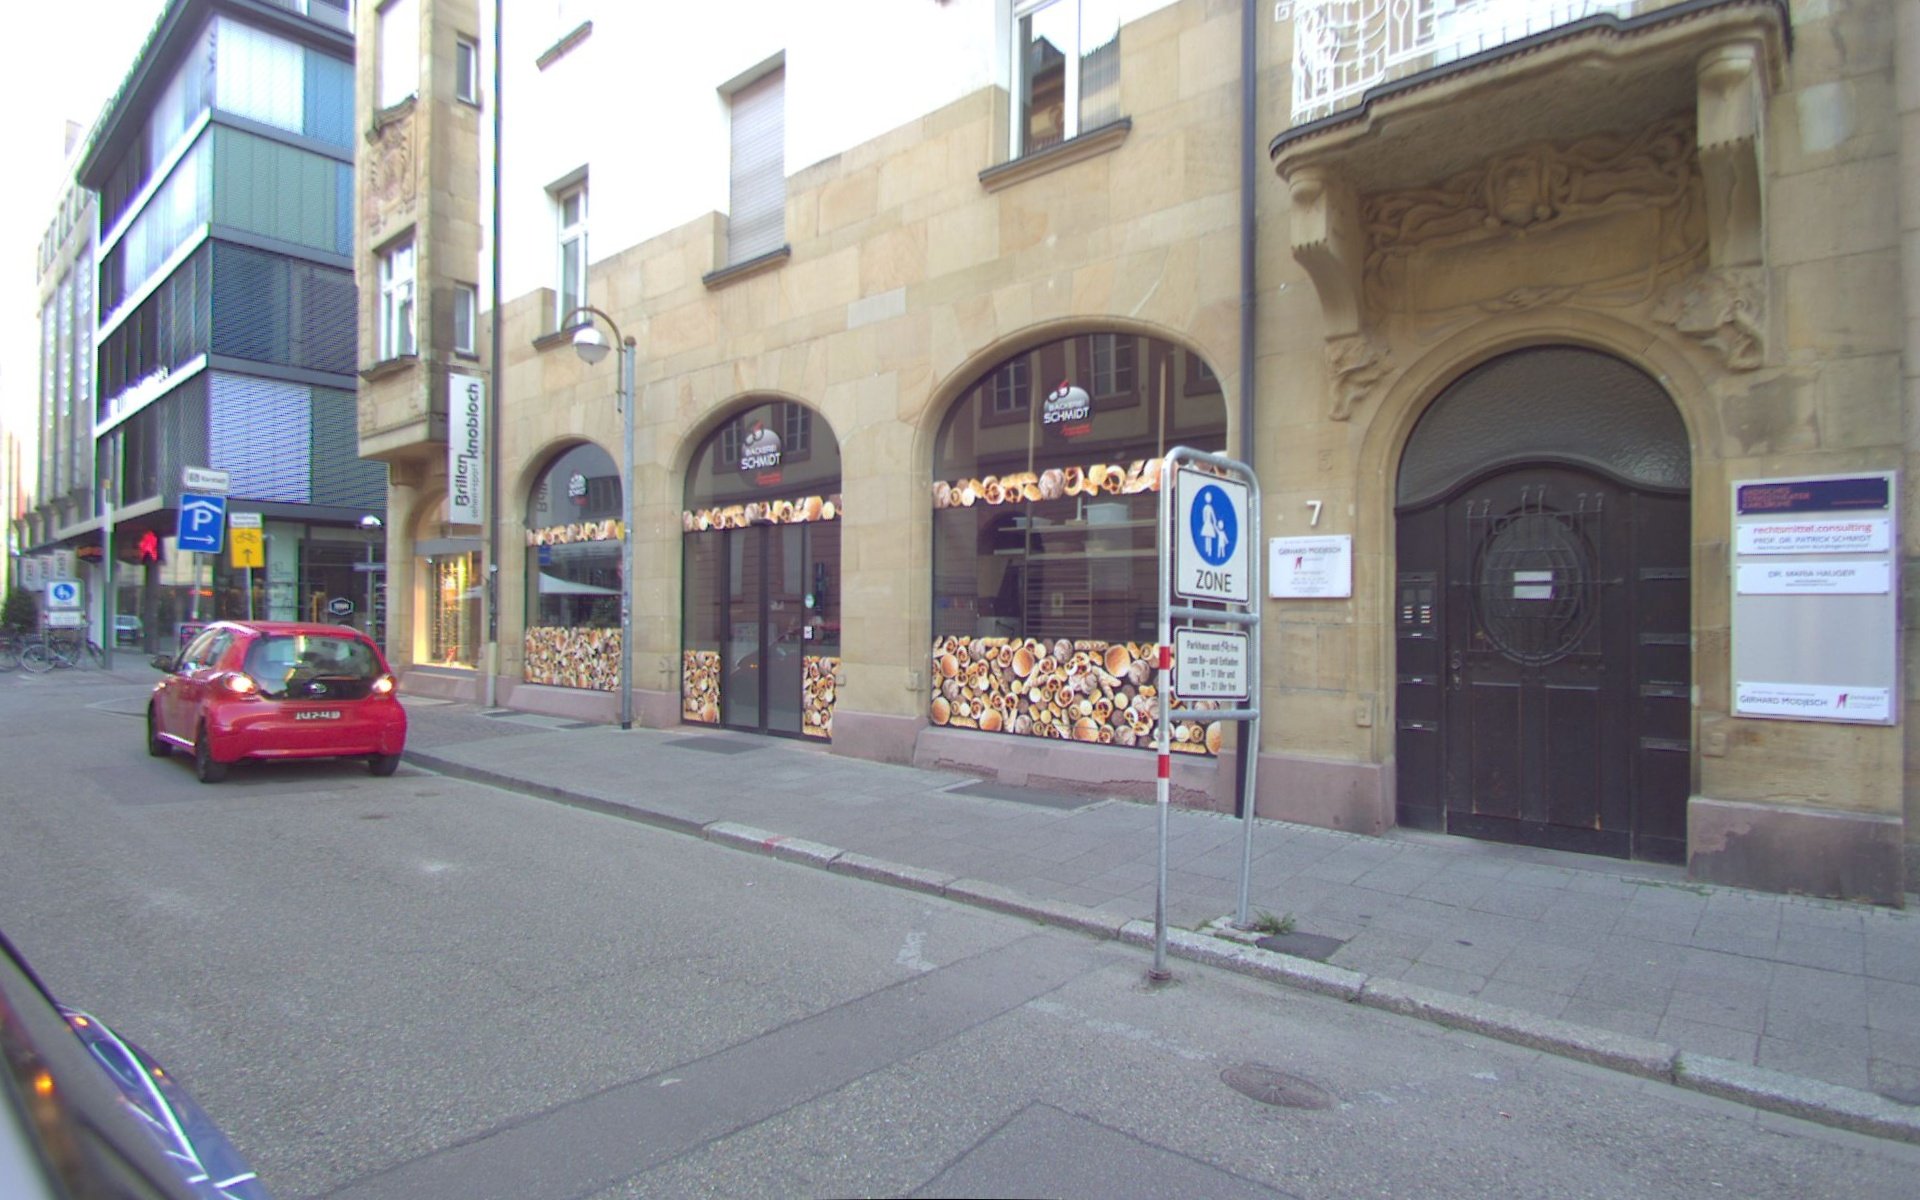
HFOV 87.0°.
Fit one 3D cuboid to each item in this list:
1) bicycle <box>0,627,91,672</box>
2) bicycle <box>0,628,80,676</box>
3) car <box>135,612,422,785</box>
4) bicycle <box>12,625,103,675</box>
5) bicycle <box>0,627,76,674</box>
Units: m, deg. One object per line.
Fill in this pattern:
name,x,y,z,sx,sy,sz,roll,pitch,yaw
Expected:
bicycle,-24.704,1.317,27.239,0.526,1.139,1.927,-1,-1,42
bicycle,-23.053,1.274,25.012,0.620,1.139,1.927,-1,-1,42
car,-6.912,0.905,10.177,3.156,1.452,1.615,-1,-5,42
bicycle,-21.675,1.185,24.327,0.620,1.127,1.586,-1,-1,42
bicycle,-23.716,1.281,25.632,0.620,1.139,1.927,-1,-1,42
